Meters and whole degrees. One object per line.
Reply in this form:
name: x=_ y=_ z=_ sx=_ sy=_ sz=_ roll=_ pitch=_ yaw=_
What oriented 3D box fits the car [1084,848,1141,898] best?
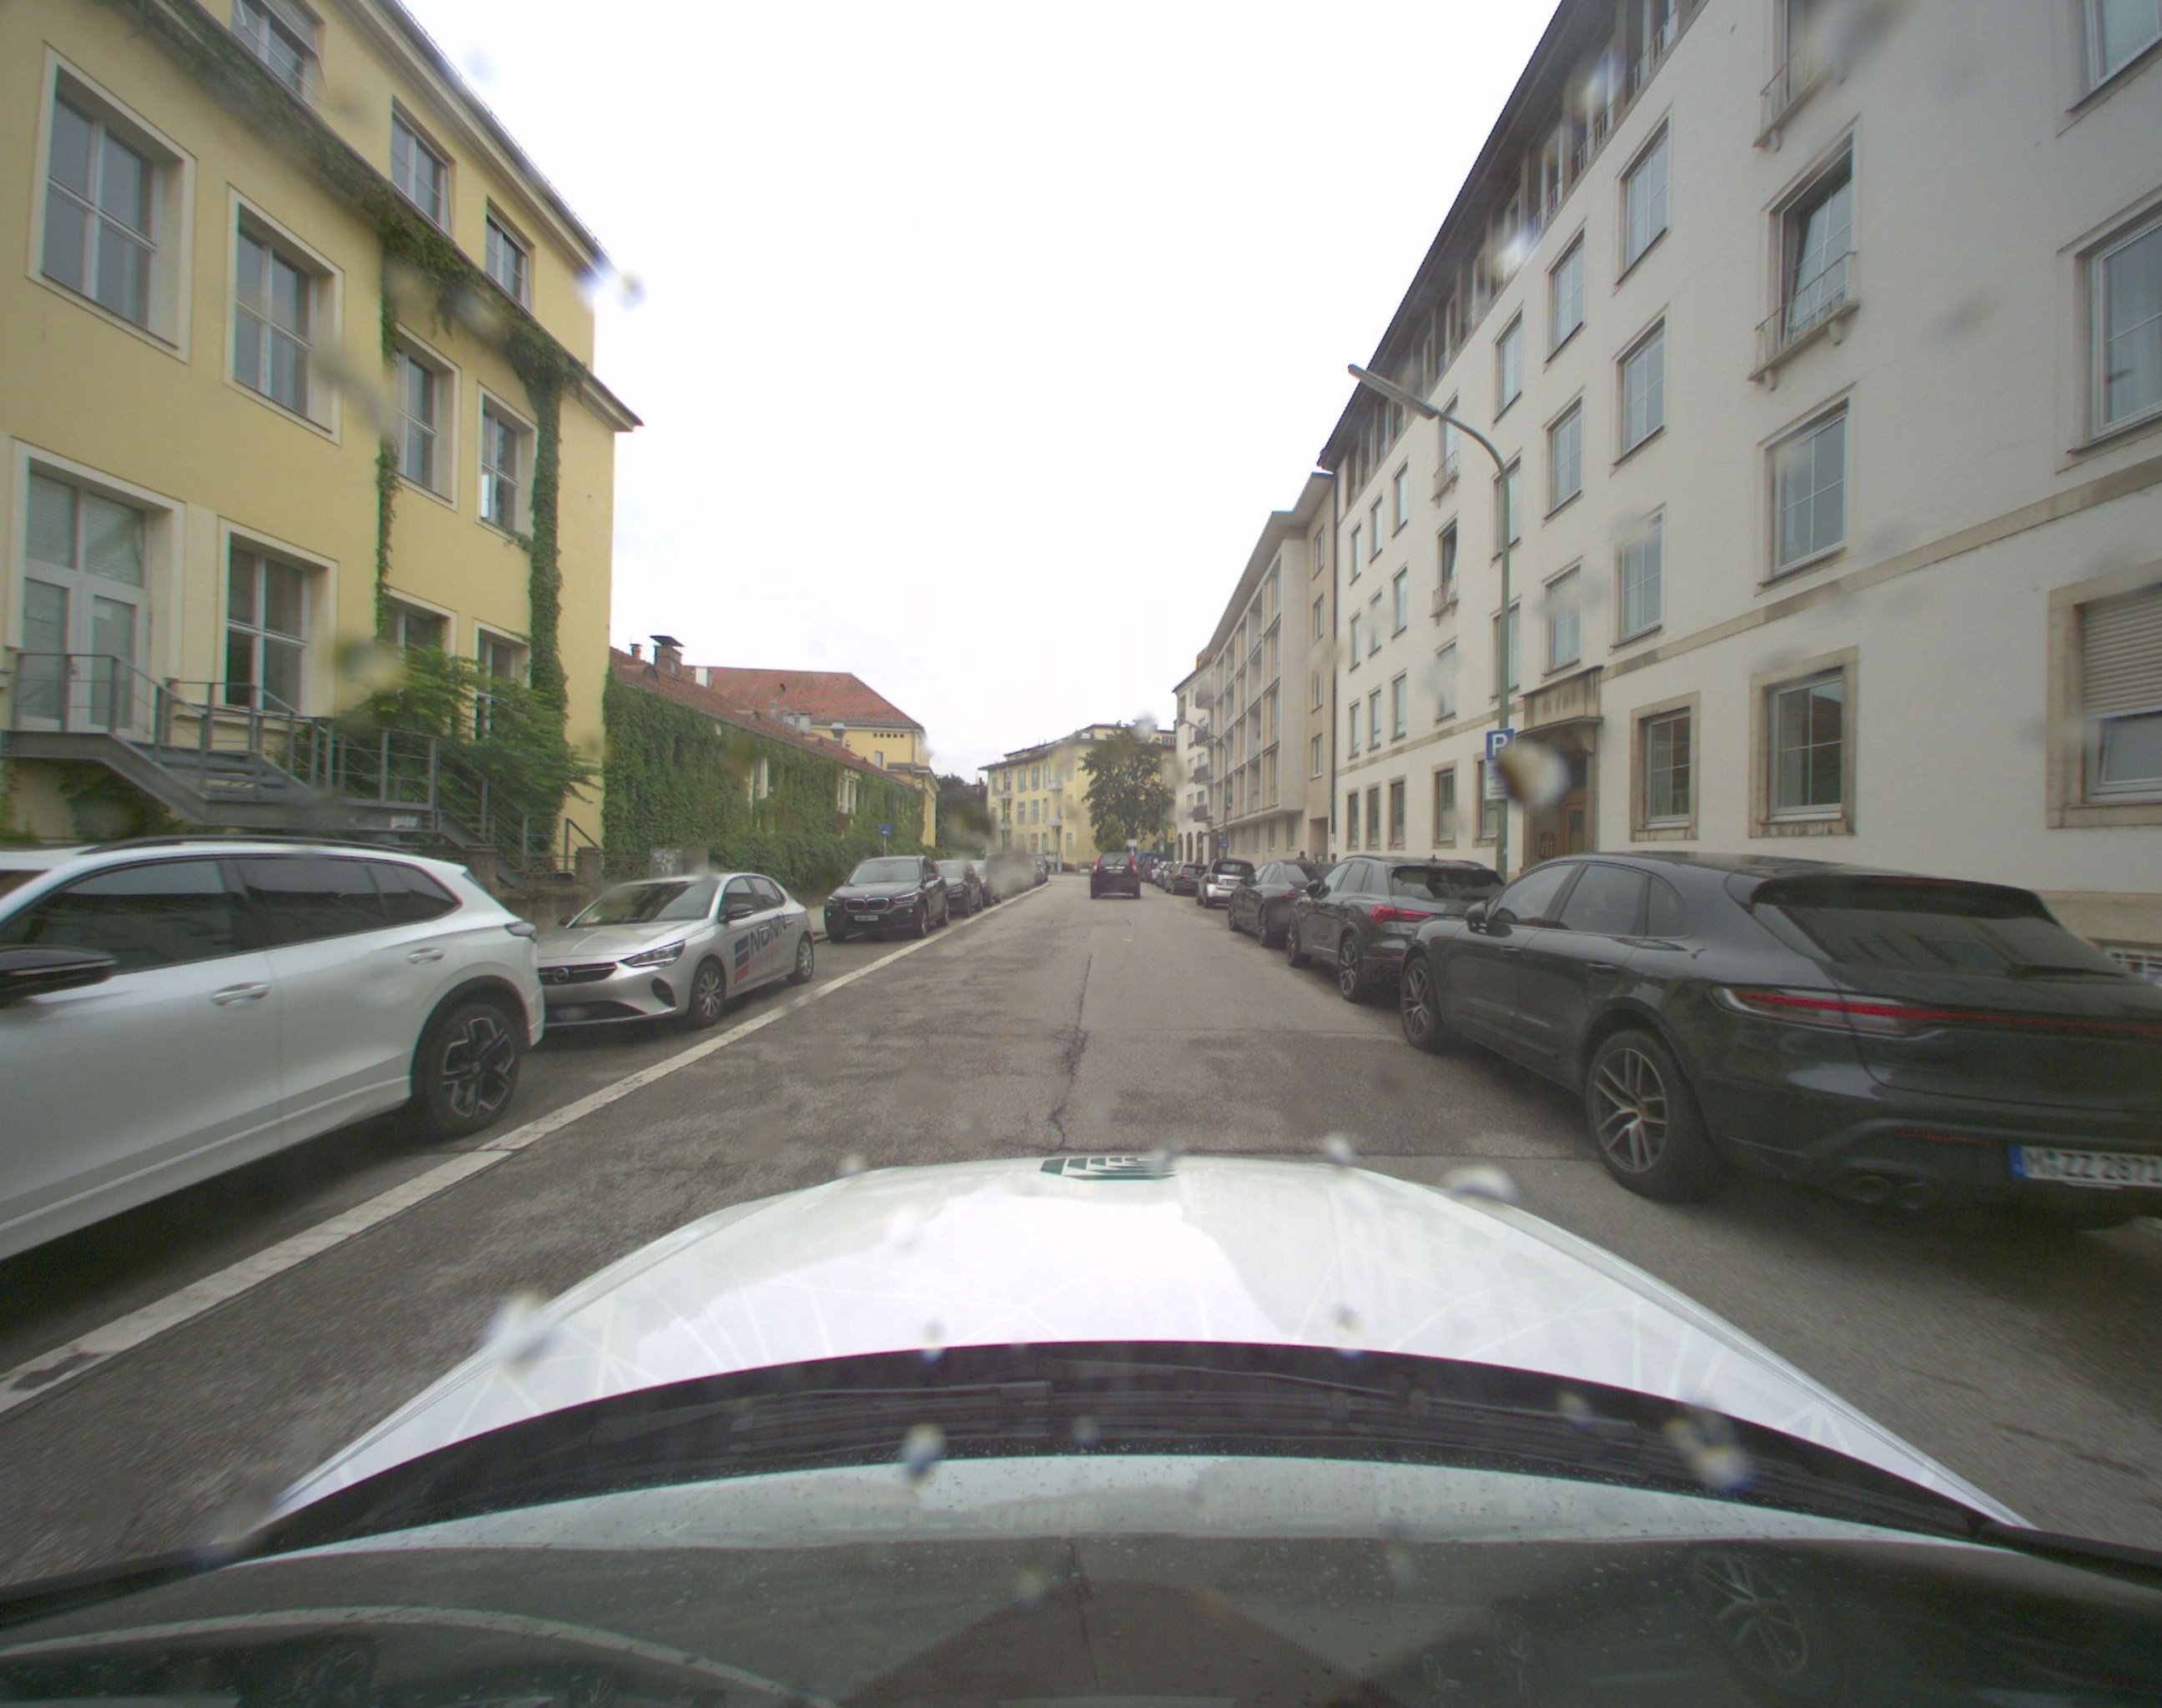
car: x=1.223 y=0.665 z=30.620 sx=1.987 sy=1.694 sz=4.384 roll=-1 pitch=0 yaw=3

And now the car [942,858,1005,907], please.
car: x=-3.488 y=0.896 z=27.073 sx=1.573 sy=1.455 sz=3.903 roll=-1 pitch=0 yaw=0

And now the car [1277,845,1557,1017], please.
car: x=3.747 y=0.736 z=9.975 sx=1.771 sy=1.584 sz=4.274 roll=2 pitch=0 yaw=2

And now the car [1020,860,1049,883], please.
car: x=-3.008 y=1.138 z=53.719 sx=1.614 sy=1.378 sz=4.071 roll=-2 pitch=0 yaw=0

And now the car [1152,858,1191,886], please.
car: x=5.143 y=1.021 z=46.944 sx=1.733 sy=1.499 sz=4.494 roll=-1 pitch=0 yaw=0

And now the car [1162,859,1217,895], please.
car: x=4.752 y=0.981 z=36.084 sx=1.790 sy=1.420 sz=4.482 roll=2 pitch=0 yaw=0

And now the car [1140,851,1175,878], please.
car: x=5.326 y=0.681 z=57.529 sx=1.958 sy=1.816 sz=4.934 roll=0 pitch=0 yaw=-1

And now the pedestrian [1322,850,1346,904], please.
pedestrian: x=7.616 y=0.681 z=24.532 sx=0.529 sy=1.584 sz=0.560 roll=-2 pitch=0 yaw=1

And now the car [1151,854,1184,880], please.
car: x=5.483 y=0.788 z=52.050 sx=1.733 sy=1.537 sz=4.274 roll=0 pitch=0 yaw=1

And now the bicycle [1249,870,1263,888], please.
bicycle: x=9.258 y=1.302 z=43.030 sx=0.443 sy=0.936 sz=1.401 roll=-1 pitch=-1 yaw=1

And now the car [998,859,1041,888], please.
car: x=-3.195 y=0.984 z=43.002 sx=1.694 sy=1.423 sz=4.427 roll=-1 pitch=0 yaw=2

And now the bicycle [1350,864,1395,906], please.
bicycle: x=8.684 y=0.902 z=24.329 sx=0.656 sy=1.163 sz=2.029 roll=-1 pitch=0 yaw=2

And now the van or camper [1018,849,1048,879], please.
van or camper: x=-3.401 y=0.679 z=58.397 sx=1.955 sy=2.065 sz=4.751 roll=-1 pitch=0 yaw=-1

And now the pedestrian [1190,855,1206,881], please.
pedestrian: x=7.736 y=0.916 z=53.938 sx=0.895 sy=1.688 sz=1.319 roll=0 pitch=-1 yaw=0

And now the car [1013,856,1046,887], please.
car: x=-3.024 y=0.991 z=48.210 sx=1.614 sy=1.730 sz=4.424 roll=-1 pitch=0 yaw=0

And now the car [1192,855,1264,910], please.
car: x=4.621 y=0.834 z=26.094 sx=1.665 sy=1.535 sz=3.883 roll=3 pitch=0 yaw=2

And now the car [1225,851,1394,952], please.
car: x=3.940 y=0.729 z=14.931 sx=1.849 sy=1.544 sz=4.817 roll=0 pitch=0 yaw=1

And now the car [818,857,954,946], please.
car: x=-3.814 y=0.860 z=16.670 sx=1.776 sy=1.538 sz=4.194 roll=-1 pitch=0 yaw=-1

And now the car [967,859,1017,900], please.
car: x=-3.460 y=0.958 z=32.300 sx=1.573 sy=1.492 sz=3.729 roll=-1 pitch=0 yaw=-1

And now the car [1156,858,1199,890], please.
car: x=4.908 y=0.988 z=42.012 sx=1.733 sy=1.499 sz=4.218 roll=0 pitch=0 yaw=0

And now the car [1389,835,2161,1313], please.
car: x=3.490 y=0.758 z=4.956 sx=1.771 sy=1.584 sz=4.333 roll=2 pitch=0 yaw=3

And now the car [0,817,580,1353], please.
car: x=-4.174 y=0.734 z=3.250 sx=1.675 sy=1.634 sz=4.354 roll=-2 pitch=0 yaw=-1

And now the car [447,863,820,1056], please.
car: x=-4.178 y=0.860 z=8.424 sx=1.675 sy=1.426 sz=3.893 roll=-2 pitch=0 yaw=-1

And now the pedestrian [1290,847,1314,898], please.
pedestrian: x=7.192 y=0.601 z=26.549 sx=0.594 sy=1.654 sz=0.631 roll=-1 pitch=0 yaw=1

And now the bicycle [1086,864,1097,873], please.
bicycle: x=1.273 y=1.864 z=103.039 sx=0.611 sy=1.072 sz=2.201 roll=0 pitch=0 yaw=-22

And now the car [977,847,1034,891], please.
car: x=-3.375 y=0.658 z=37.272 sx=1.986 sy=1.875 sz=4.761 roll=-1 pitch=0 yaw=2

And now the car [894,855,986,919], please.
car: x=-3.700 y=0.802 z=22.009 sx=1.776 sy=1.538 sz=4.148 roll=-1 pitch=0 yaw=-1

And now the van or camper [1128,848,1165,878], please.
van or camper: x=5.037 y=0.687 z=63.380 sx=2.057 sy=2.231 sz=5.429 roll=-1 pitch=0 yaw=-4
